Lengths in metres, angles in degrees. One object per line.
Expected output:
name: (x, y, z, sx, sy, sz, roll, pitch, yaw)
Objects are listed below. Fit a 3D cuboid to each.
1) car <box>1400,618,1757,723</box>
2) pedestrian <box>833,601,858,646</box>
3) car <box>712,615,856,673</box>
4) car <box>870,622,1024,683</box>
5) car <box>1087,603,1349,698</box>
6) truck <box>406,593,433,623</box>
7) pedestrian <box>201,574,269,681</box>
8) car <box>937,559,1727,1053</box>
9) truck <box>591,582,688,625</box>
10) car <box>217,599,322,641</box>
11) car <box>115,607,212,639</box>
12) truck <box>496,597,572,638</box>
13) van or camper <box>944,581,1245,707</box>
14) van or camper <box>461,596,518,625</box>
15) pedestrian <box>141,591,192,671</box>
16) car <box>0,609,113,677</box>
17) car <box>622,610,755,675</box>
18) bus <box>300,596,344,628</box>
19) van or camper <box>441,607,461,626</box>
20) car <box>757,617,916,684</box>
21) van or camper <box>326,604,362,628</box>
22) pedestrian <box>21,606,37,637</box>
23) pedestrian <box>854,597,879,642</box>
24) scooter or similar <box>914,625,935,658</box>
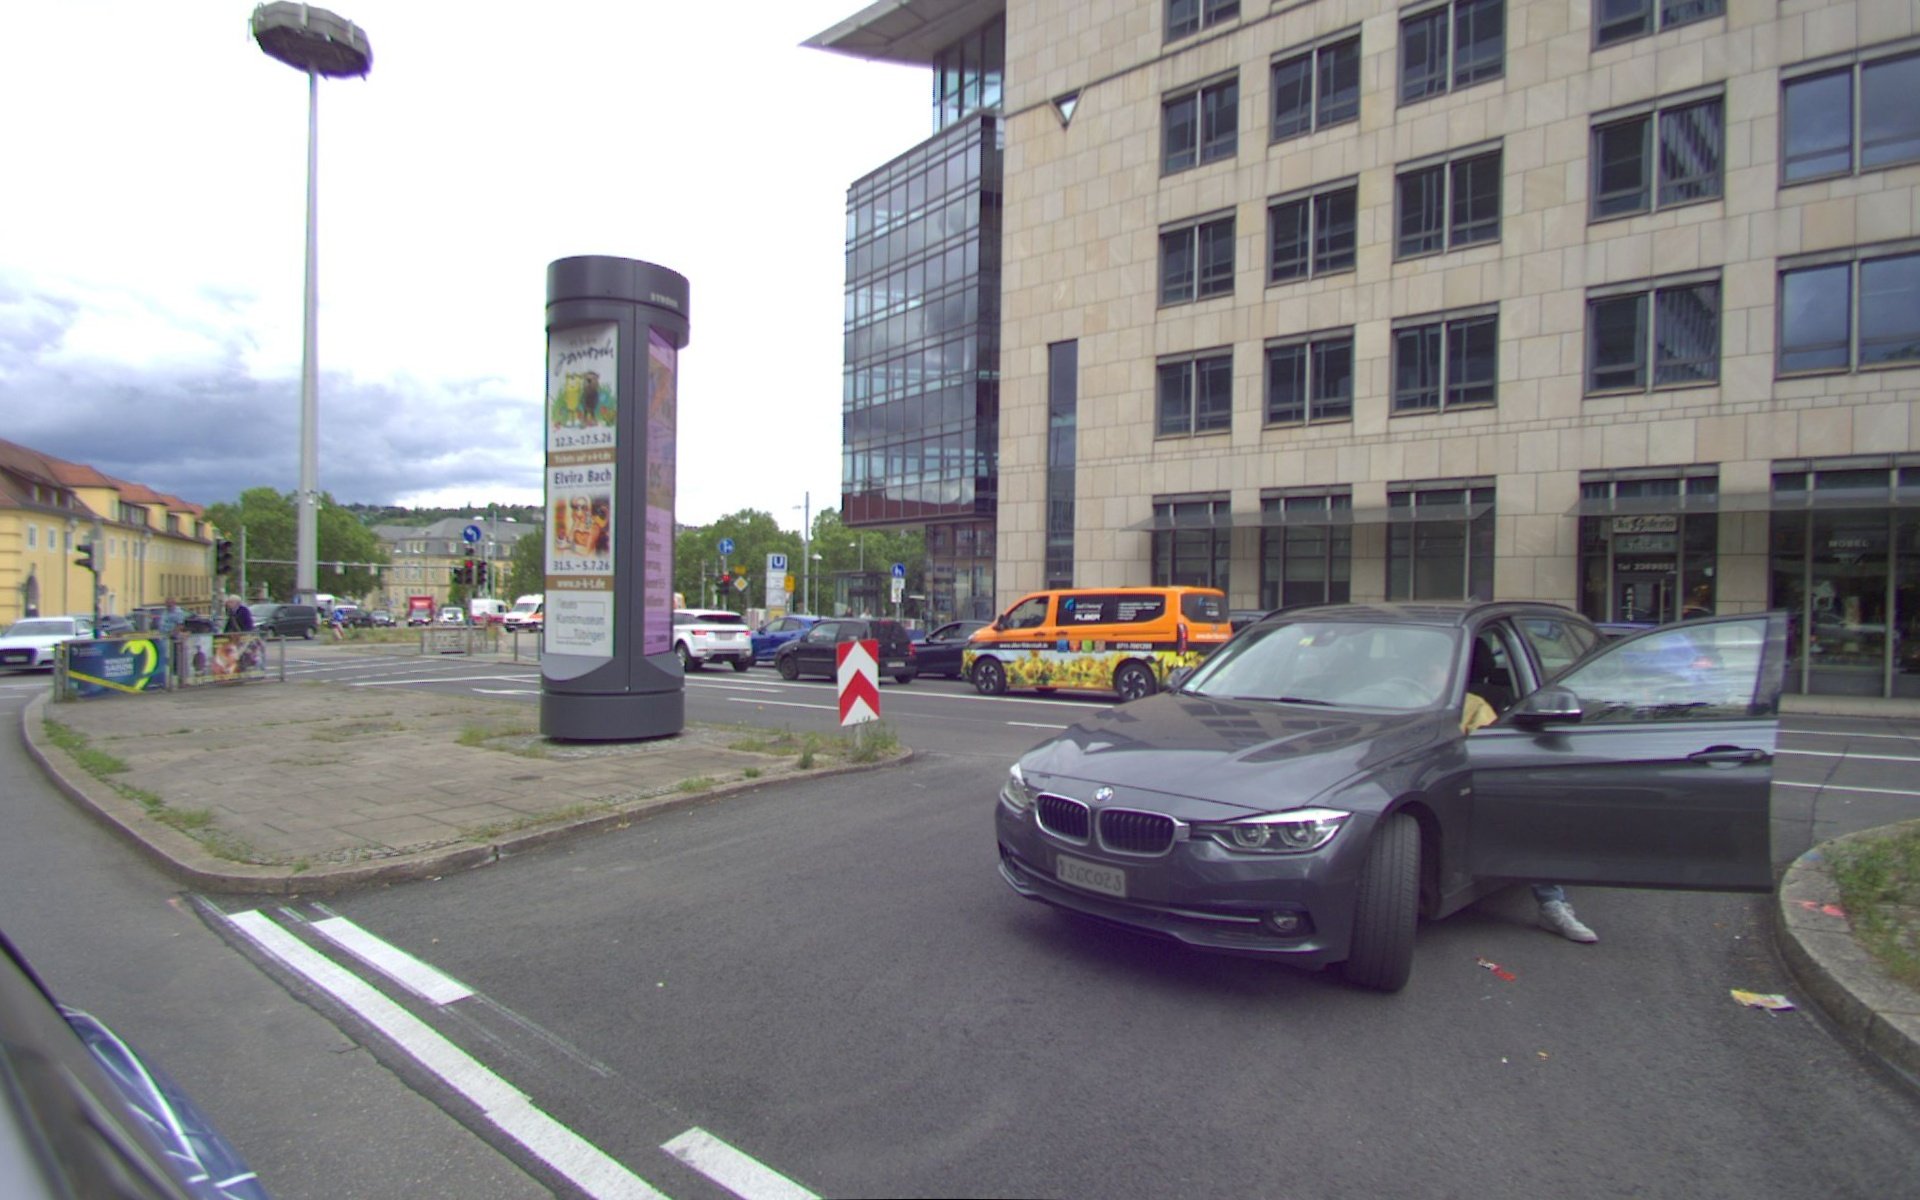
car: (9.683, 1.005, 16.078, 4.572, 1.406, 1.972, -1, -1, 42)
pedestrian: (-4.299, 0.872, 37.871, 0.643, 1.625, 0.969, 0, 2, -26)
car: (-5.061, 1.194, 28.821, 4.091, 1.537, 1.972, -1, -1, 43)
car: (-0.357, 1.210, 24.134, 3.632, 1.352, 1.539, -1, -3, 42)
car: (5.018, 0.951, 20.066, 4.681, 1.658, 1.973, -1, -3, 41)
truck: (-64.627, 1.010, 121.054, 2.744, 3.516, 8.376, 1, -2, -28)
pedestrian: (-15.182, 0.573, 21.203, 0.758, 2.189, 0.872, 0, -1, 23)
car: (2.209, 0.630, 5.209, 4.494, 1.469, 1.884, 0, -1, -41)
truck: (-29.401, 0.341, 93.277, 2.716, 3.643, 9.089, -4, -2, 28)
car: (-35.042, 0.999, 51.533, 1.837, 2.003, 4.634, 1, -1, 5)
car: (-41.468, 1.176, 52.744, 2.001, 1.588, 3.754, -1, -1, 45)
truck: (-29.944, 1.252, 71.370, 1.936, 2.805, 5.766, 0, -2, 12)
van or camper: (2.236, 0.735, 17.883, 5.081, 1.936, 1.893, -1, -3, 41)
van or camper: (-43.082, 0.952, 92.863, 2.118, 2.496, 6.156, 0, -1, 3)
pedestrian: (-18.179, 0.724, 23.194, 0.634, 1.804, 0.708, -3, -6, 41)
car: (-24.358, 1.197, 26.748, 2.061, 1.621, 4.425, 3, -6, -28)
car: (-7.383, 1.087, 27.254, 1.713, 1.611, 4.325, 1, -1, -41)
bus: (-68.977, 1.318, 109.662, 3.376, 3.228, 13.103, 0, -1, -30)
van or camper: (-53.574, 1.751, 106.535, 1.834, 1.931, 4.729, 0, -1, -27)
car: (-2.813, 1.092, 22.633, 3.632, 1.390, 1.539, -1, -3, 42)
van or camper: (-60.949, 1.598, 100.270, 2.334, 2.279, 6.308, 0, -1, -25)
pedestrian: (-57.879, 1.334, 62.919, 0.556, 1.909, 0.632, -1, -1, 30)
pedestrian: (-3.536, 0.734, 38.283, 0.595, 1.643, 0.789, -4, 4, -27)
scooter or similar: (-1.350, 1.569, 38.813, 0.527, 1.217, 1.381, 0, -1, 10)
